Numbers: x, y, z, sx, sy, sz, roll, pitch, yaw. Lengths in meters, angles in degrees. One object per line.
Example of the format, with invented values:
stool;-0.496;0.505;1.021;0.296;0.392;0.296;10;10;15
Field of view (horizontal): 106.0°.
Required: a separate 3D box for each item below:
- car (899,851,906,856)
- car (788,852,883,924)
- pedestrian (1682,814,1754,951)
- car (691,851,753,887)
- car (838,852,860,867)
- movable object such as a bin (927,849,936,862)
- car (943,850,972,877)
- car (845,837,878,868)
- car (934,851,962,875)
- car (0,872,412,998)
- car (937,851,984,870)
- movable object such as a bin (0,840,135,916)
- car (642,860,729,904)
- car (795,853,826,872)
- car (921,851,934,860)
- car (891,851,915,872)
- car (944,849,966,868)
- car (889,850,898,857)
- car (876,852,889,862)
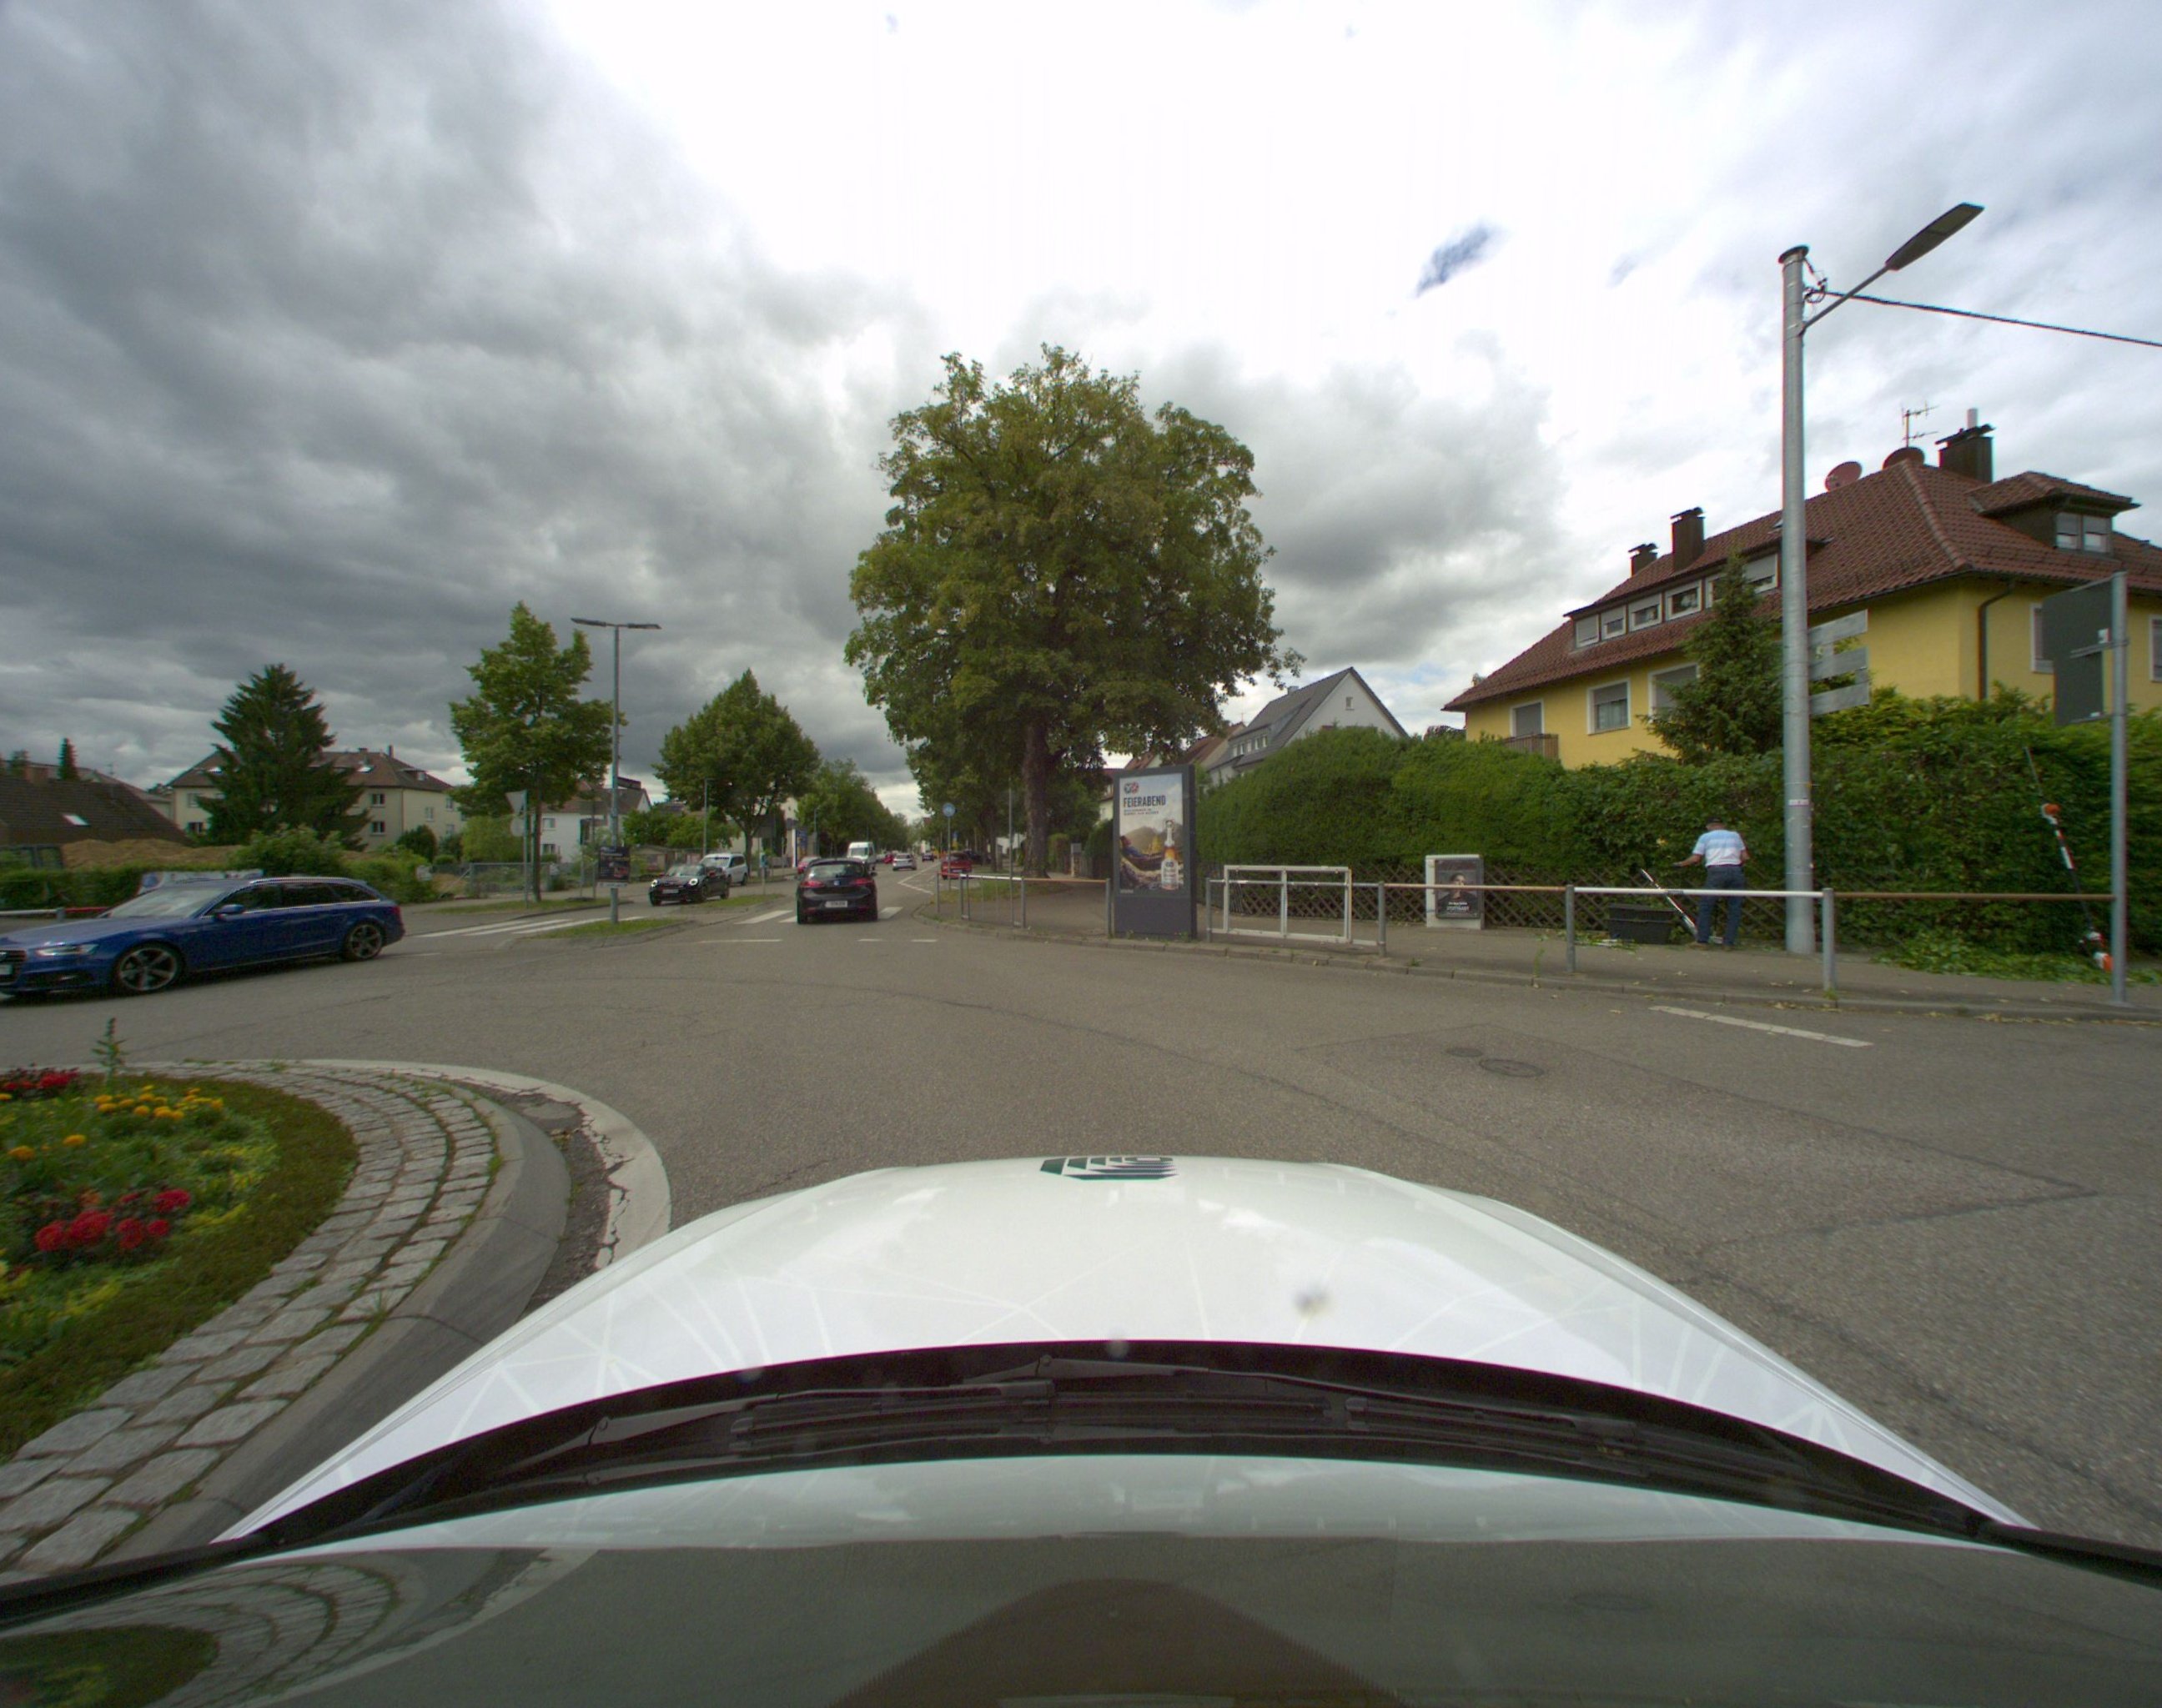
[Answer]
car;-54.266;-0.276;247.495;1.816;1.415;3.668;-2;0;-20
car;-5.857;0.720;19.170;1.826;1.437;3.713;-2;1;-21
pedestrian;8.008;0.345;10.259;0.645;1.656;0.598;-1;0;33
car;-19.369;0.765;44.191;1.768;1.770;4.541;-1;1;-7
car;-26.014;0.608;91.566;1.730;1.469;4.290;-2;1;-7
movable object such as a bin;-31.135;0.252;169.063;1.769;2.574;3.726;-1;0;-11
car;-7.022;0.518;46.282;1.564;1.455;3.657;-1;0;-9
car;-19.727;-0.135;73.363;2.017;2.674;5.792;-1;1;-7
car;-8.471;0.544;51.707;1.653;1.416;4.162;-3;1;-10
car;-12.524;1.021;11.858;1.602;1.372;4.511;-2;0;3
car;-11.353;0.592;76.882;4.223;1.638;1.685;-3;1;-14
movable object such as a bin;-32.211;0.708;24.921;1.896;2.187;4.347;-1;0;-10
car;-13.770;0.923;28.555;1.571;1.362;3.734;-1;1;-7
car;-22.919;0.713;69.144;1.683;1.541;4.123;-1;1;-7
car;-23.550;0.257;125.087;1.812;1.375;3.676;-2;0;-13
car;-15.317;0.646;70.301;1.906;1.685;3.726;-2;1;-11
car;-10.523;0.341;67.801;1.653;1.416;4.162;-3;1;-10
car;-50.924;-0.170;221.115;1.965;1.830;4.805;-2;1;-9
car;-31.428;0.441;128.878;1.643;1.420;4.007;-2;1;-10
